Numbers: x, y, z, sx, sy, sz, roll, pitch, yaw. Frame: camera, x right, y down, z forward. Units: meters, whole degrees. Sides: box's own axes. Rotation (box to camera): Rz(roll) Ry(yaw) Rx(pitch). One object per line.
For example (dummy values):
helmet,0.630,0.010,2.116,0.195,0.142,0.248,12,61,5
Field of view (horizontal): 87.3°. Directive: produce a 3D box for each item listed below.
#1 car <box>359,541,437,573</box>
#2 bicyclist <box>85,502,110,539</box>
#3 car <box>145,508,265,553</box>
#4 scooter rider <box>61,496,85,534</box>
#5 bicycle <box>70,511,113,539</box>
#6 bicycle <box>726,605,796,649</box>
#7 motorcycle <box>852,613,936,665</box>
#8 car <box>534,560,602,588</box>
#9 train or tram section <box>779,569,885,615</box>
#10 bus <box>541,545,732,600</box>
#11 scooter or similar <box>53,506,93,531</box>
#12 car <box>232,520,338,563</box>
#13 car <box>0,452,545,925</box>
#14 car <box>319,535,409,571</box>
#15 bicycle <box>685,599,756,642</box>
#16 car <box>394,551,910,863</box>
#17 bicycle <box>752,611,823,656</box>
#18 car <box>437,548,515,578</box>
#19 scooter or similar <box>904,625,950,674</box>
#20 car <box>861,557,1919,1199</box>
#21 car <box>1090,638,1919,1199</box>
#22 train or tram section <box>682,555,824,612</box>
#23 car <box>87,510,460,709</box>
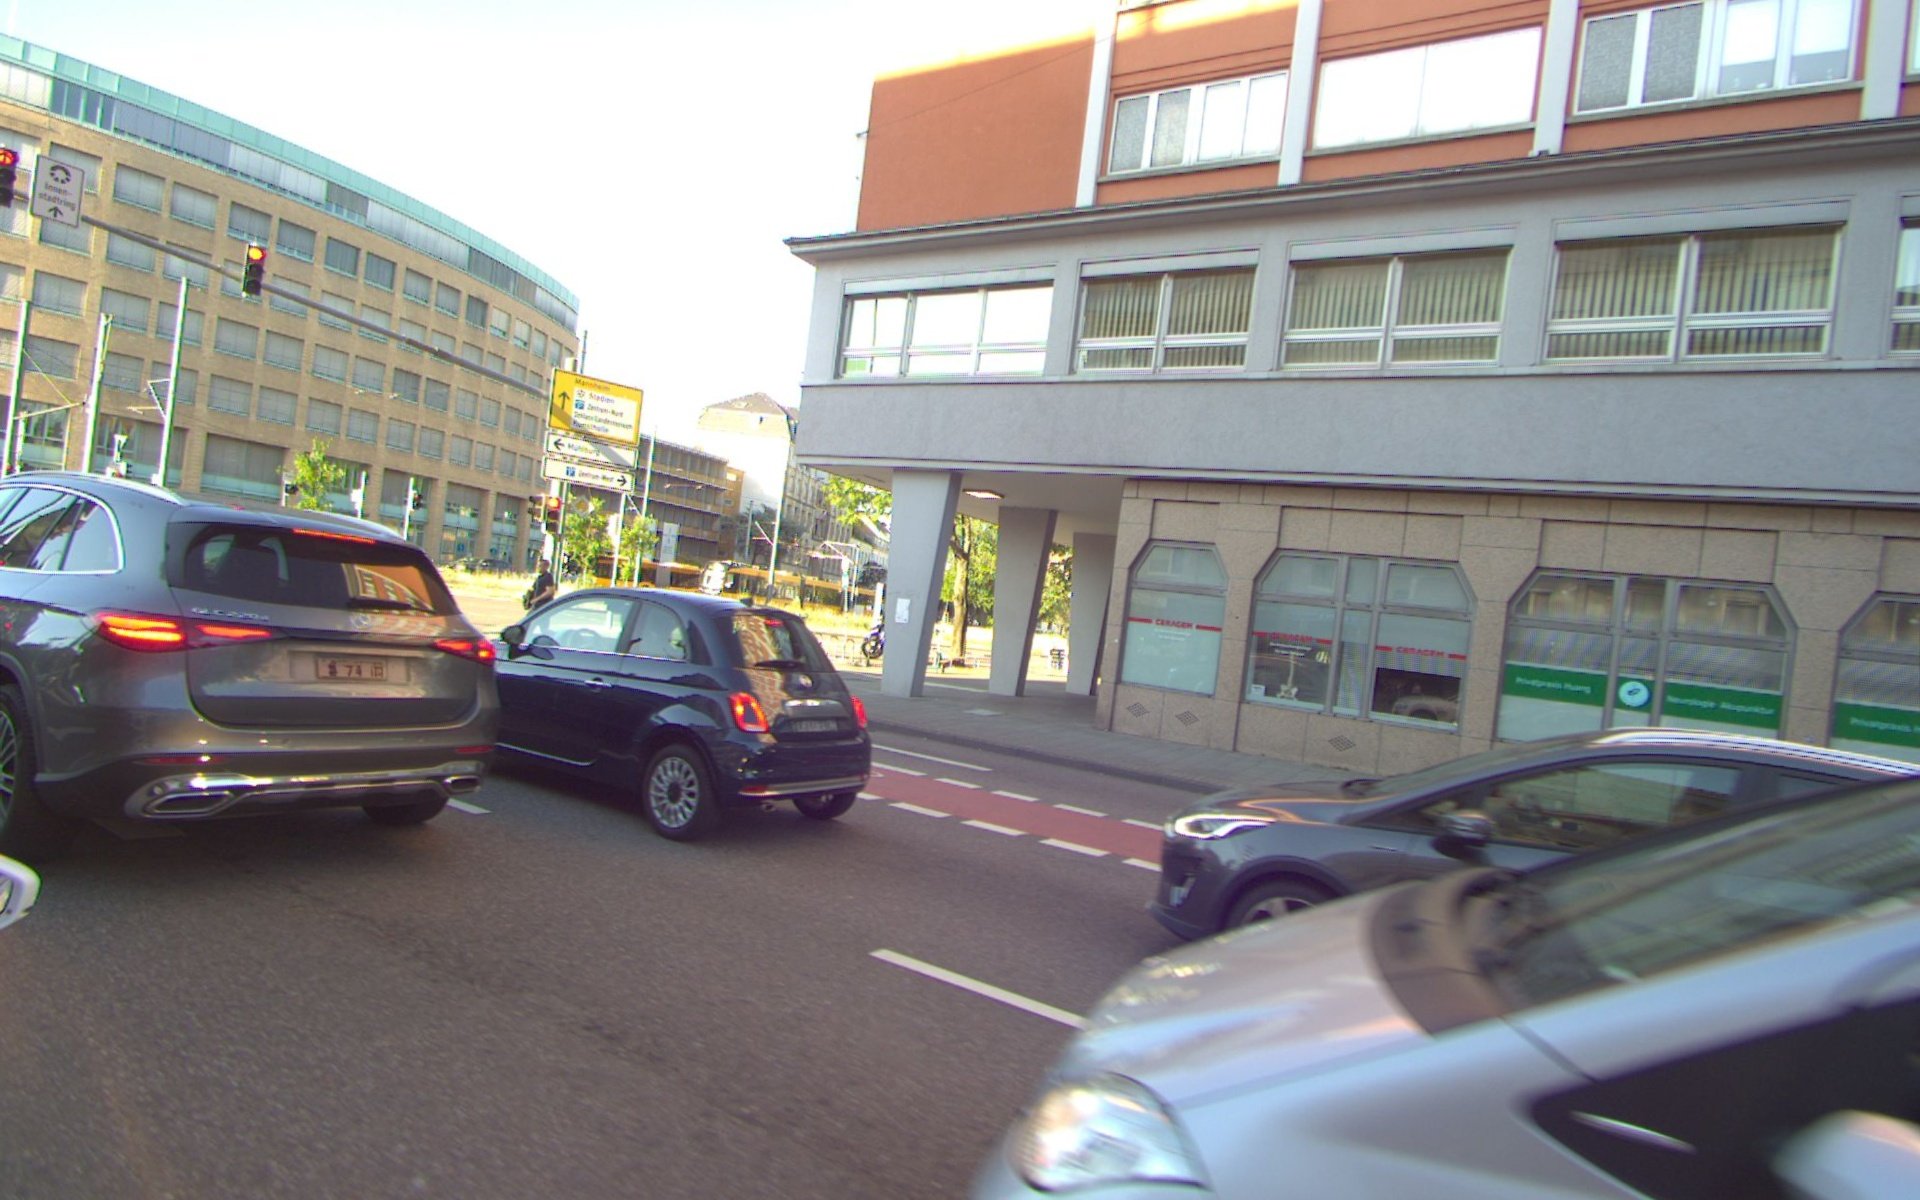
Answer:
car,-33.278,-2.527,59.655,1.693,1.358,3.614,7,-1,31
bicyclist,-44.048,-4.080,51.380,0.468,1.757,0.790,7,0,38
car,-40.341,-3.682,53.854,1.965,1.617,4.657,7,-1,28
scooter rider,-45.247,-4.315,51.327,0.468,1.836,0.680,7,1,38
bicycle,-44.330,-3.835,51.337,0.468,1.187,1.519,7,0,38
bicycle,-5.794,0.796,29.403,0.730,1.130,2.089,7,0,30
motorcycle,-2.017,1.191,30.670,2.362,1.256,0.855,7,0,29
car,-27.465,-1.797,70.551,1.966,1.362,3.995,7,-1,29
train or tram section,-12.376,-0.582,101.338,3.629,3.215,19.974,7,-1,13
bus,-25.312,-2.005,80.881,2.380,2.466,18.214,7,-1,27
scooter or similar,-45.240,-4.150,51.345,0.468,1.014,1.400,7,0,38
car,-36.312,-3.122,54.200,1.967,1.634,4.234,7,-1,32
car,-4.520,0.172,5.441,4.403,1.652,1.787,7,0,30
car,-36.118,-2.842,61.057,1.965,1.520,4.238,7,-1,28
bicycle,-7.137,0.635,30.113,0.730,1.130,2.089,7,0,30
car,-2.269,0.626,7.237,3.420,1.524,1.492,7,0,30
bicycle,-4.873,0.963,28.616,0.730,1.130,2.089,7,0,30
car,-30.884,-2.350,64.338,1.966,1.362,3.995,7,-1,29
scooter or similar,-0.920,1.391,28.275,1.130,1.260,0.424,6,1,-39
car,1.835,0.972,1.513,3.557,1.587,1.807,7,0,30
car,2.888,1.217,4.364,4.168,1.502,1.654,7,-1,31
train or tram section,-16.749,-1.134,84.007,3.630,3.215,17.168,7,-1,17
car,-6.878,0.066,10.014,3.586,1.463,1.588,7,-2,31
